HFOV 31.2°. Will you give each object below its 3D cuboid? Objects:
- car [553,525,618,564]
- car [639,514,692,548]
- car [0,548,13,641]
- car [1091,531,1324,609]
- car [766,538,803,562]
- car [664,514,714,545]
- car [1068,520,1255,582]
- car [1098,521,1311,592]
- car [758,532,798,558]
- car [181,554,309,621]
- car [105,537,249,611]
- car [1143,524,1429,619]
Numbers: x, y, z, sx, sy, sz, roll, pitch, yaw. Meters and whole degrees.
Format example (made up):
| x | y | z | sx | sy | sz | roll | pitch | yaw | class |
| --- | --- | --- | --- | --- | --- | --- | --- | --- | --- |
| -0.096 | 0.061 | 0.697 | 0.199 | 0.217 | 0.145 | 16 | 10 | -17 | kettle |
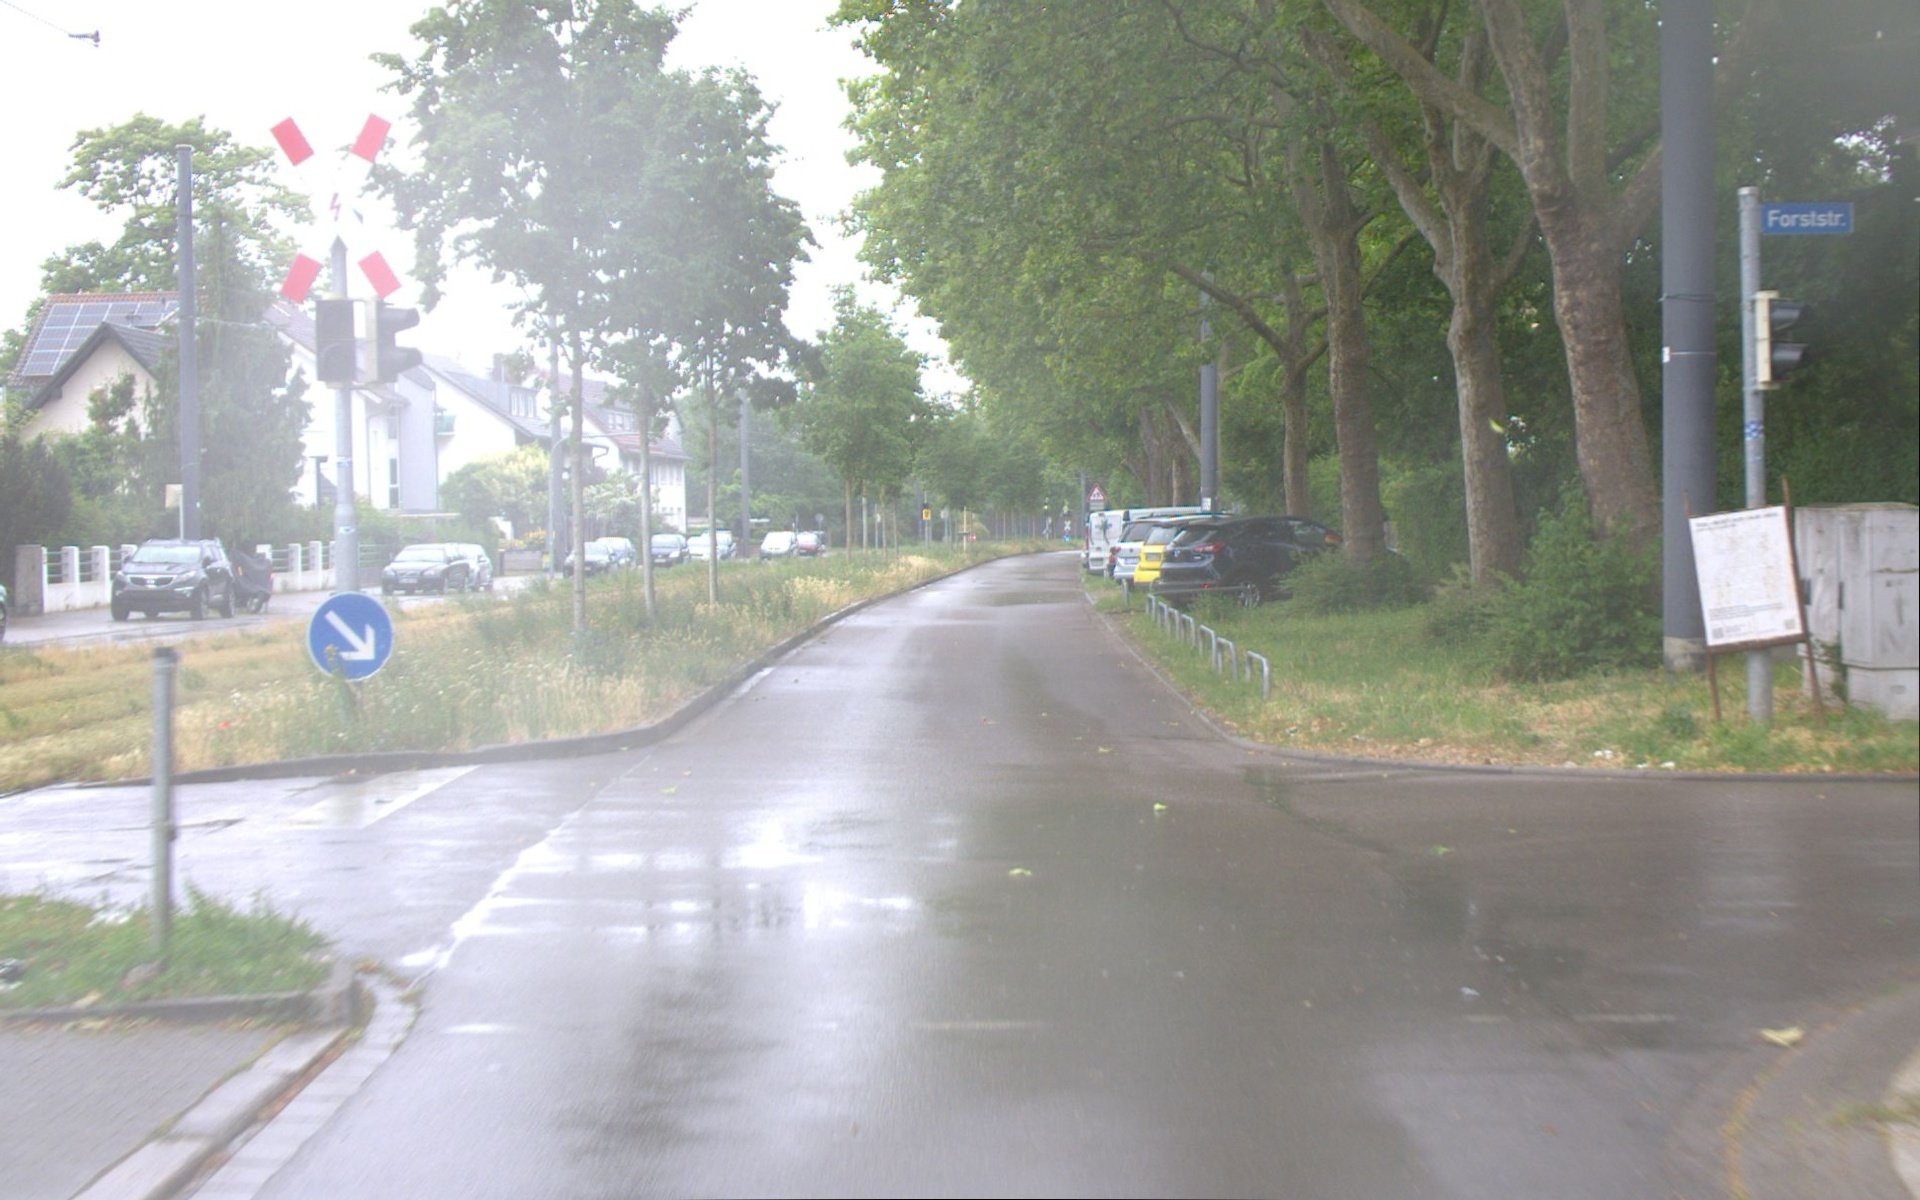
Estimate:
| x | y | z | sx | sy | sz | roll | pitch | yaw | class |
| --- | --- | --- | --- | --- | --- | --- | --- | --- | --- |
| -14.357 | -2.112 | 131.845 | 1.928 | 1.481 | 4.000 | 0 | 1 | 2 | car |
| -13.182 | -3.079 | 154.039 | 1.928 | 1.481 | 4.000 | 0 | 1 | 2 | car |
| -16.375 | -0.071 | 53.745 | 1.928 | 1.481 | 4.000 | 0 | 1 | 2 | car |
| 4.698 | -0.575 | 65.445 | 3.986 | 1.448 | 2.001 | 0 | 1 | -15 | car |
| -10.702 | -3.040 | 210.071 | 1.928 | 1.481 | 4.000 | 0 | 1 | 2 | car |
| -13.080 | -3.392 | 166.150 | 1.928 | 1.481 | 4.000 | 0 | 1 | 2 | car |
| 4.774 | -1.163 | 81.672 | 3.986 | 1.448 | 2.001 | 0 | 1 | -15 | car |
| 5.076 | -0.917 | 71.485 | 3.986 | 1.448 | 2.001 | 0 | 1 | -15 | car |
| -10.374 | -3.117 | 196.323 | 1.928 | 1.481 | 4.000 | 0 | 1 | 2 | car |
| -16.109 | -0.297 | 77.624 | 1.928 | 1.481 | 4.000 | 0 | 1 | 2 | car |
| -16.051 | -0.550 | 70.639 | 1.928 | 1.481 | 4.000 | 0 | 1 | 2 | car |
| 5.055 | -0.455 | 53.565 | 3.986 | 1.448 | 2.001 | 0 | 1 | -15 | car |
